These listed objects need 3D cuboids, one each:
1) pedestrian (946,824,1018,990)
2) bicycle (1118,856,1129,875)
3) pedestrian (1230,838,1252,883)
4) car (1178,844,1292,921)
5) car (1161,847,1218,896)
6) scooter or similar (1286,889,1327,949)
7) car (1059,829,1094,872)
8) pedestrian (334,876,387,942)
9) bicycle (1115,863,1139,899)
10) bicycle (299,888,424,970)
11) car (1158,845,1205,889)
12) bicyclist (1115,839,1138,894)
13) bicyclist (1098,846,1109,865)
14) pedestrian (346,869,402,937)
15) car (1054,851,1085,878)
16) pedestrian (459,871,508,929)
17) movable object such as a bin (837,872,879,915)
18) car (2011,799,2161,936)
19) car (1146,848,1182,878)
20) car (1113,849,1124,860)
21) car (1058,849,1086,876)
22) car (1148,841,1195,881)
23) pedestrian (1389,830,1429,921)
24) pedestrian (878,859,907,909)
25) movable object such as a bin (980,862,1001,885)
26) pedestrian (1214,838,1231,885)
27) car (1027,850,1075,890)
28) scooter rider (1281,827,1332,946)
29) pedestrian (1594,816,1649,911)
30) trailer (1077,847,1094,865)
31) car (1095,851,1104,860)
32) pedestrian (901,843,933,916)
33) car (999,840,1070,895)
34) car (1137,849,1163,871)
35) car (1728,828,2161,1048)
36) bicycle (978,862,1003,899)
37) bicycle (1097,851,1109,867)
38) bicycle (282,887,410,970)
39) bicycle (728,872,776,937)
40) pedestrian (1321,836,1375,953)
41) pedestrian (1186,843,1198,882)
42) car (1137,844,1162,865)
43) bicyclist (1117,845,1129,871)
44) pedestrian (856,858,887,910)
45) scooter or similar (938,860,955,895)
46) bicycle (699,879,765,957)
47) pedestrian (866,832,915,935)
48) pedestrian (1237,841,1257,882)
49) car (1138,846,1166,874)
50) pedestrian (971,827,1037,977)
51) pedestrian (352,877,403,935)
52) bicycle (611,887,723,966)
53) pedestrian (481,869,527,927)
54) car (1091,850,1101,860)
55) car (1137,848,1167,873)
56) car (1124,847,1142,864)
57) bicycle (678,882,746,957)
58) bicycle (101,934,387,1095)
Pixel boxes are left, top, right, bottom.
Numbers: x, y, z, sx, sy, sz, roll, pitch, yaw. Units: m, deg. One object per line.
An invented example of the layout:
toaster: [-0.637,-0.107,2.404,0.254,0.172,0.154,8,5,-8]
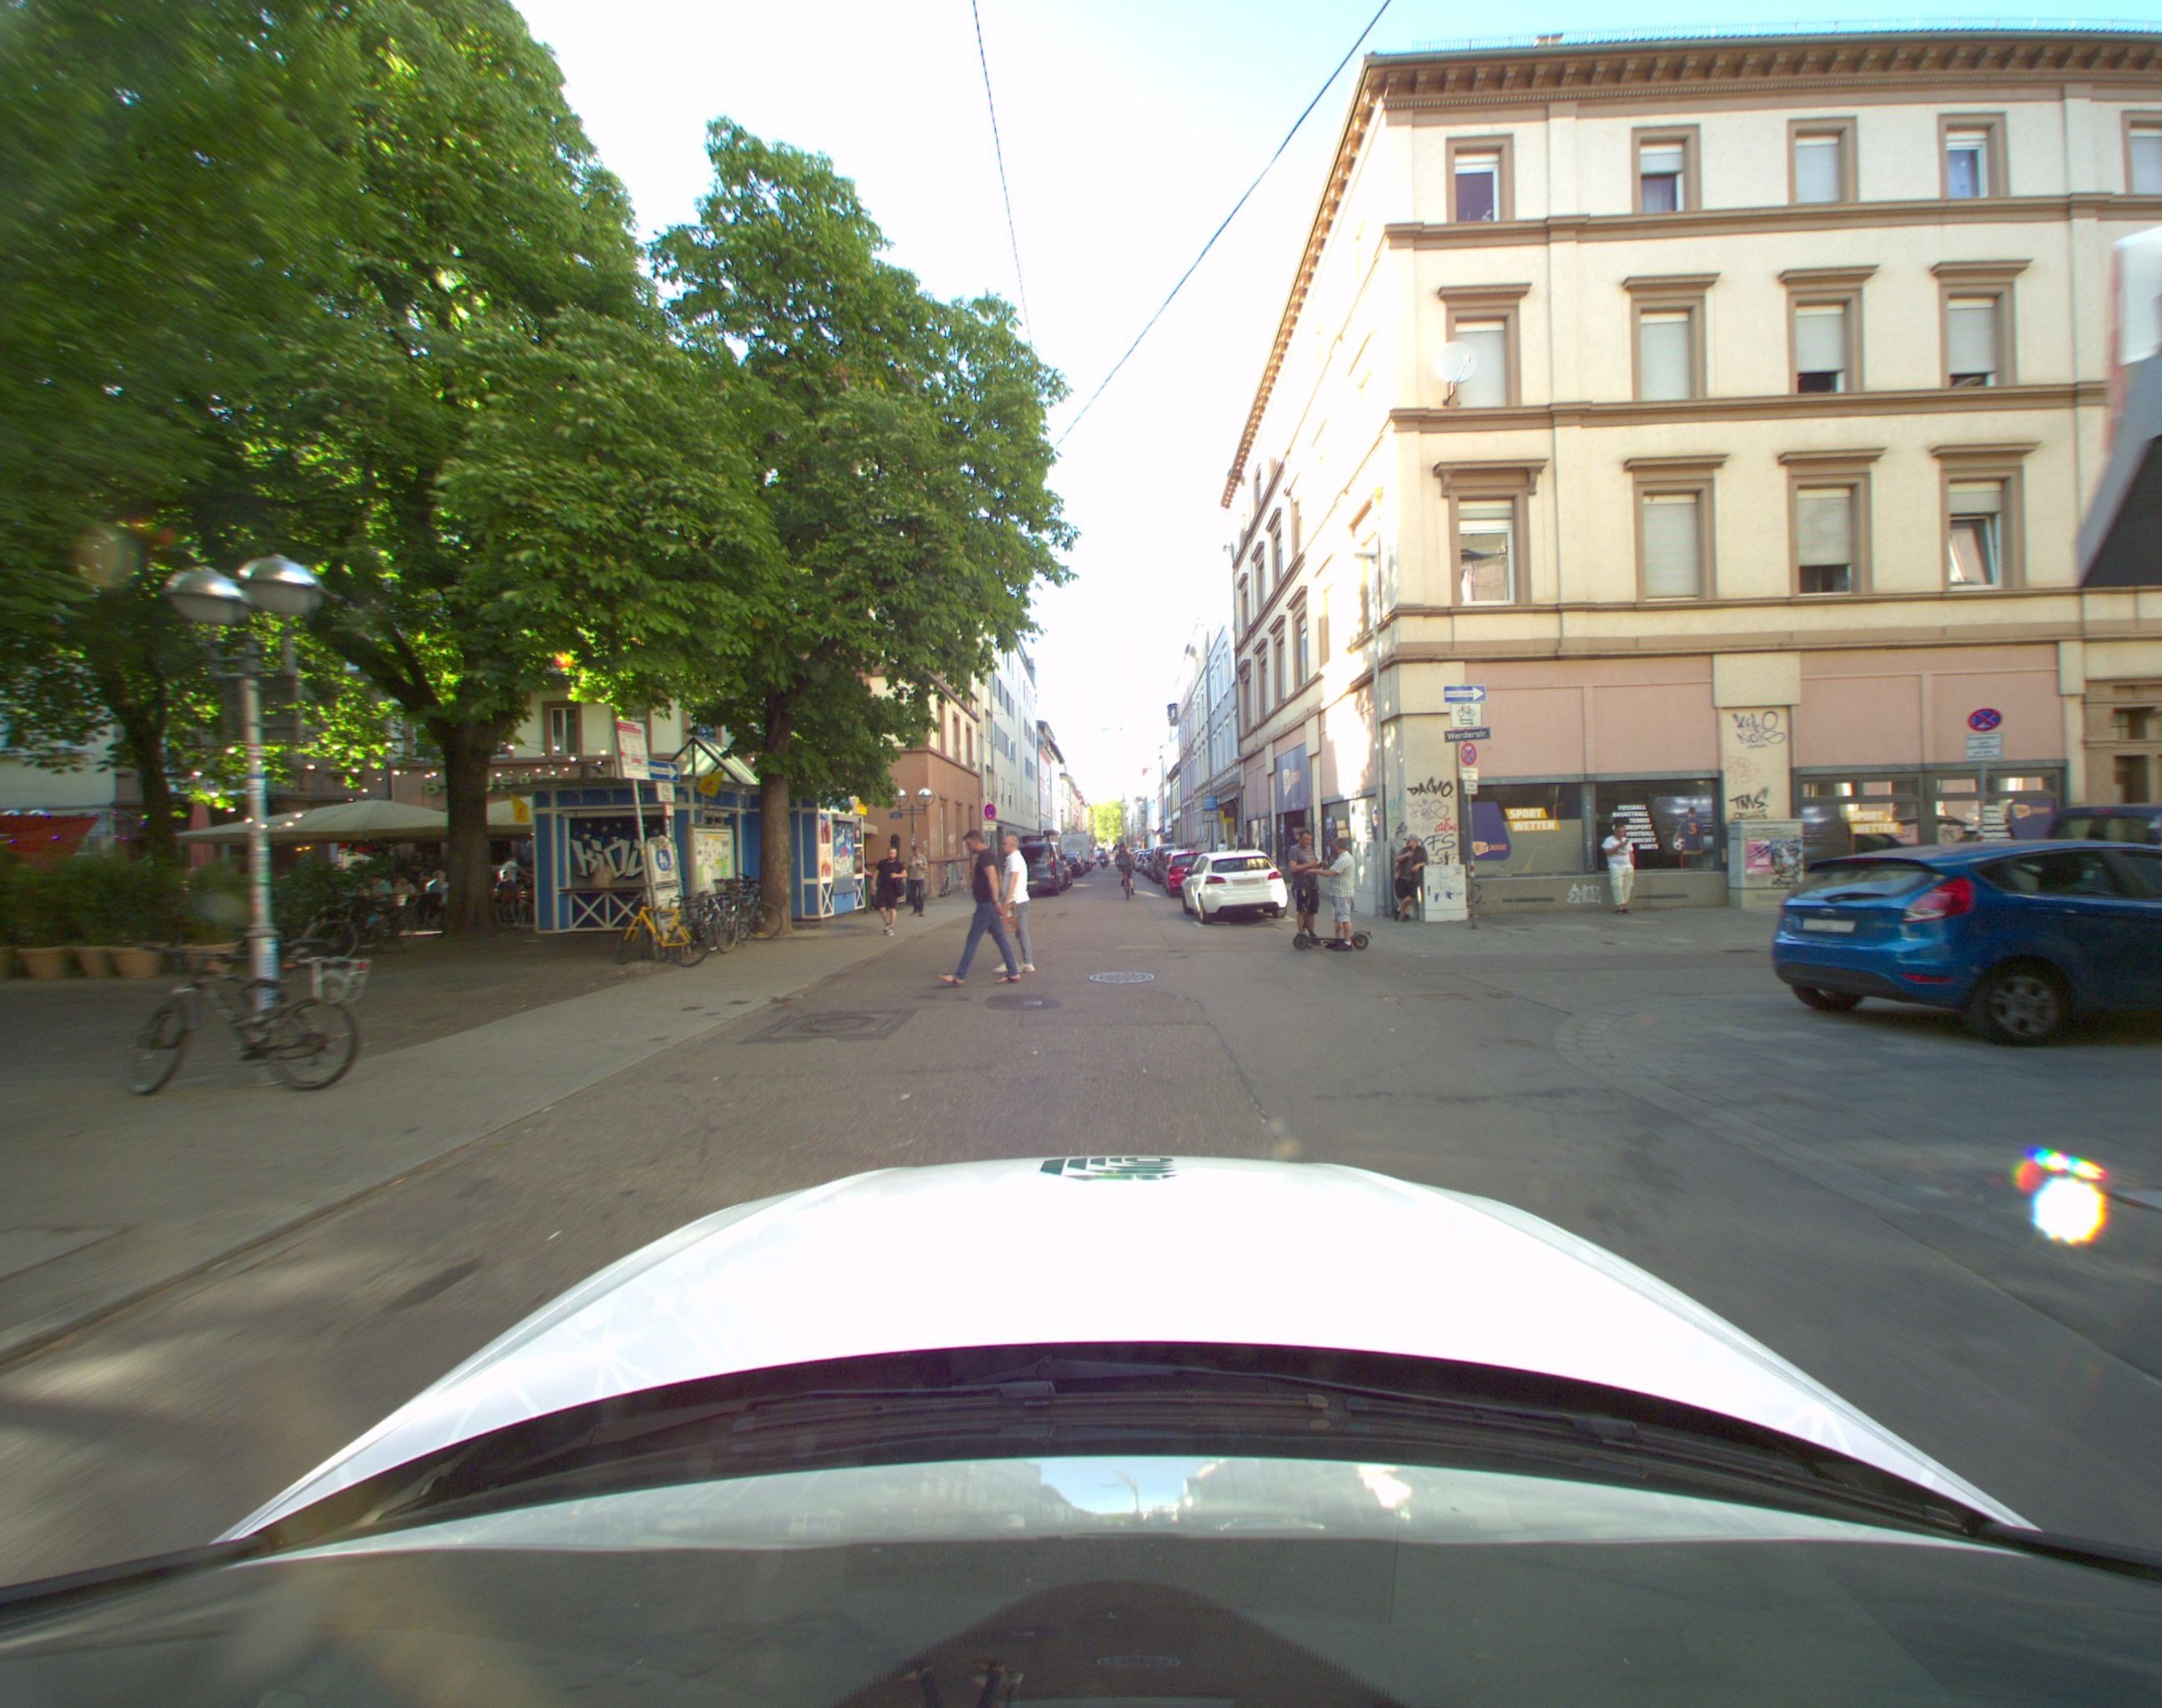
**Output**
pedestrian: [-1.132,0.587,9.522,0.691,1.825,1.003,-1,-1,0]
bicycle: [2.557,0.690,49.220,0.646,1.129,2.136,-1,0,2]
pedestrian: [6.260,0.262,31.877,0.629,1.740,0.656,0,-1,-11]
car: [3.323,0.581,18.364,1.781,1.516,4.135,-1,0,0]
car: [3.716,0.577,28.361,1.600,1.572,3.555,-1,0,2]
scooter or similar: [3.411,0.968,12.357,0.392,0.828,0.926,-1,-1,2]
car: [-0.317,-0.236,68.520,2.334,3.291,7.159,-4,0,3]
pedestrian: [-14.601,1.098,16.514,0.542,1.305,0.597,-1,-1,1]
bicycle: [1.421,0.816,25.384,0.674,1.074,1.942,-1,0,2]
bicycle: [-11.586,1.165,13.194,0.227,1.091,1.938,-1,2,1]
car: [4.008,0.496,32.840,1.563,1.556,3.317,-5,-1,4]
bicyclist: [1.416,0.395,25.381,0.665,1.676,1.097,-1,-1,1]
bicyclist: [2.051,0.152,74.187,0.946,1.628,0.954,-4,0,3]
pedestrian: [-14.138,0.971,16.293,0.566,1.321,0.634,-1,-1,1]
car: [-0.675,0.661,52.313,1.710,1.478,4.501,-4,1,1]
pedestrian: [-14.141,1.080,19.277,0.693,1.321,0.615,-1,-1,10]
movable object such as a bin: [-5.907,1.041,21.647,0.866,1.086,0.774,-1,-1,2]
car: [16.835,0.106,12.078,3.910,1.840,1.869,-2,2,2]
car: [4.455,0.489,43.976,1.547,1.511,3.610,-1,0,-1]
car: [5.878,0.042,128.379,1.605,1.560,3.612,-2,0,2]
car: [-0.572,0.586,57.802,1.710,1.650,4.247,-4,1,1]
car: [4.256,0.336,38.871,1.892,1.793,4.316,-1,0,2]
pedestrian: [6.180,0.395,15.343,0.593,1.650,0.468,-1,2,33]
pedestrian: [-5.570,0.879,24.061,0.703,1.445,0.617,-1,-1,1]
movable object such as a bin: [-4.187,0.902,37.799,0.752,1.067,0.655,-1,-1,21]
pedestrian: [5.257,0.290,30.216,0.556,1.740,0.429,-1,-1,16]
car: [-1.264,0.687,36.117,1.744,1.522,3.871,-5,-1,2]
scooter rider: [3.495,0.492,12.633,0.558,1.778,0.615,-1,-1,37]
pedestrian: [10.076,0.173,15.197,0.688,1.726,0.475,-1,-1,1]
trailer: [0.580,0.224,98.136,1.875,2.092,3.738,-3,0,2]
car: [3.902,0.305,168.513,1.743,1.821,3.797,-3,0,2]
pedestrian: [-4.187,0.643,20.806,0.644,1.833,0.698,0,-1,1]
car: [-1.647,0.449,30.790,2.012,1.879,5.302,-1,0,3]
car: [5.283,0.456,62.955,1.680,1.543,4.047,-4,0,1]
car: [7.732,0.564,6.574,3.560,1.486,1.790,-2,0,2]
bicycle: [-3.109,0.898,27.893,0.551,1.216,1.978,0,0,-15]
bicycle: [2.023,0.459,74.406,0.973,1.314,2.557,-3,0,3]
bicycle: [-11.840,1.155,13.199,0.227,1.091,1.938,-1,2,1]
bicycle: [-6.372,0.941,15.862,0.497,1.131,2.030,0,0,-11]
pedestrian: [3.867,0.571,11.783,0.568,1.638,0.522,0,-1,-44]
pedestrian: [4.885,0.382,35.825,0.439,1.704,0.655,-1,-1,2]
car: [6.004,0.051,71.496,1.911,1.706,4.368,-2,0,2]
bicyclist: [2.543,0.245,49.251,0.668,1.567,0.716,-1,-1,1]
pedestrian: [-6.004,0.848,23.374,0.703,1.445,0.617,-1,-1,1]
scooter or similar: [-4.803,0.840,29.176,0.346,1.216,1.392,-1,-1,2]
bicycle: [-5.541,0.983,13.003,0.291,1.082,1.579,-1,1,2]
pedestrian: [-3.568,0.547,15.293,0.713,1.873,0.720,-1,-1,1]
pedestrian: [6.347,0.289,31.166,0.586,1.529,0.658,-1,-1,-4]
car: [4.535,0.374,52.110,1.551,1.712,3.560,-1,0,1]
pedestrian: [-0.969,0.593,10.410,0.759,1.835,0.688,-1,-1,0]
pedestrian: [-15.986,1.166,18.515,0.562,1.268,0.678,-1,-1,1]
bicycle: [-5.960,1.031,11.727,1.563,1.082,0.348,-1,-1,12]
pedestrian: [-13.490,1.027,19.059,0.595,1.321,0.635,-1,-1,7]
car: [2.831,0.238,151.589,1.743,1.683,3.797,-3,0,2]
car: [4.935,0.445,56.944,1.690,1.543,4.630,-4,0,1]
car: [6.073,0.163,94.732,1.745,1.878,3.971,-3,0,0]
bicycle: [-5.849,1.010,12.988,0.291,1.046,1.579,-1,1,2]
bicycle: [-5.991,1.136,5.861,1.684,1.065,0.346,-1,-1,0]
